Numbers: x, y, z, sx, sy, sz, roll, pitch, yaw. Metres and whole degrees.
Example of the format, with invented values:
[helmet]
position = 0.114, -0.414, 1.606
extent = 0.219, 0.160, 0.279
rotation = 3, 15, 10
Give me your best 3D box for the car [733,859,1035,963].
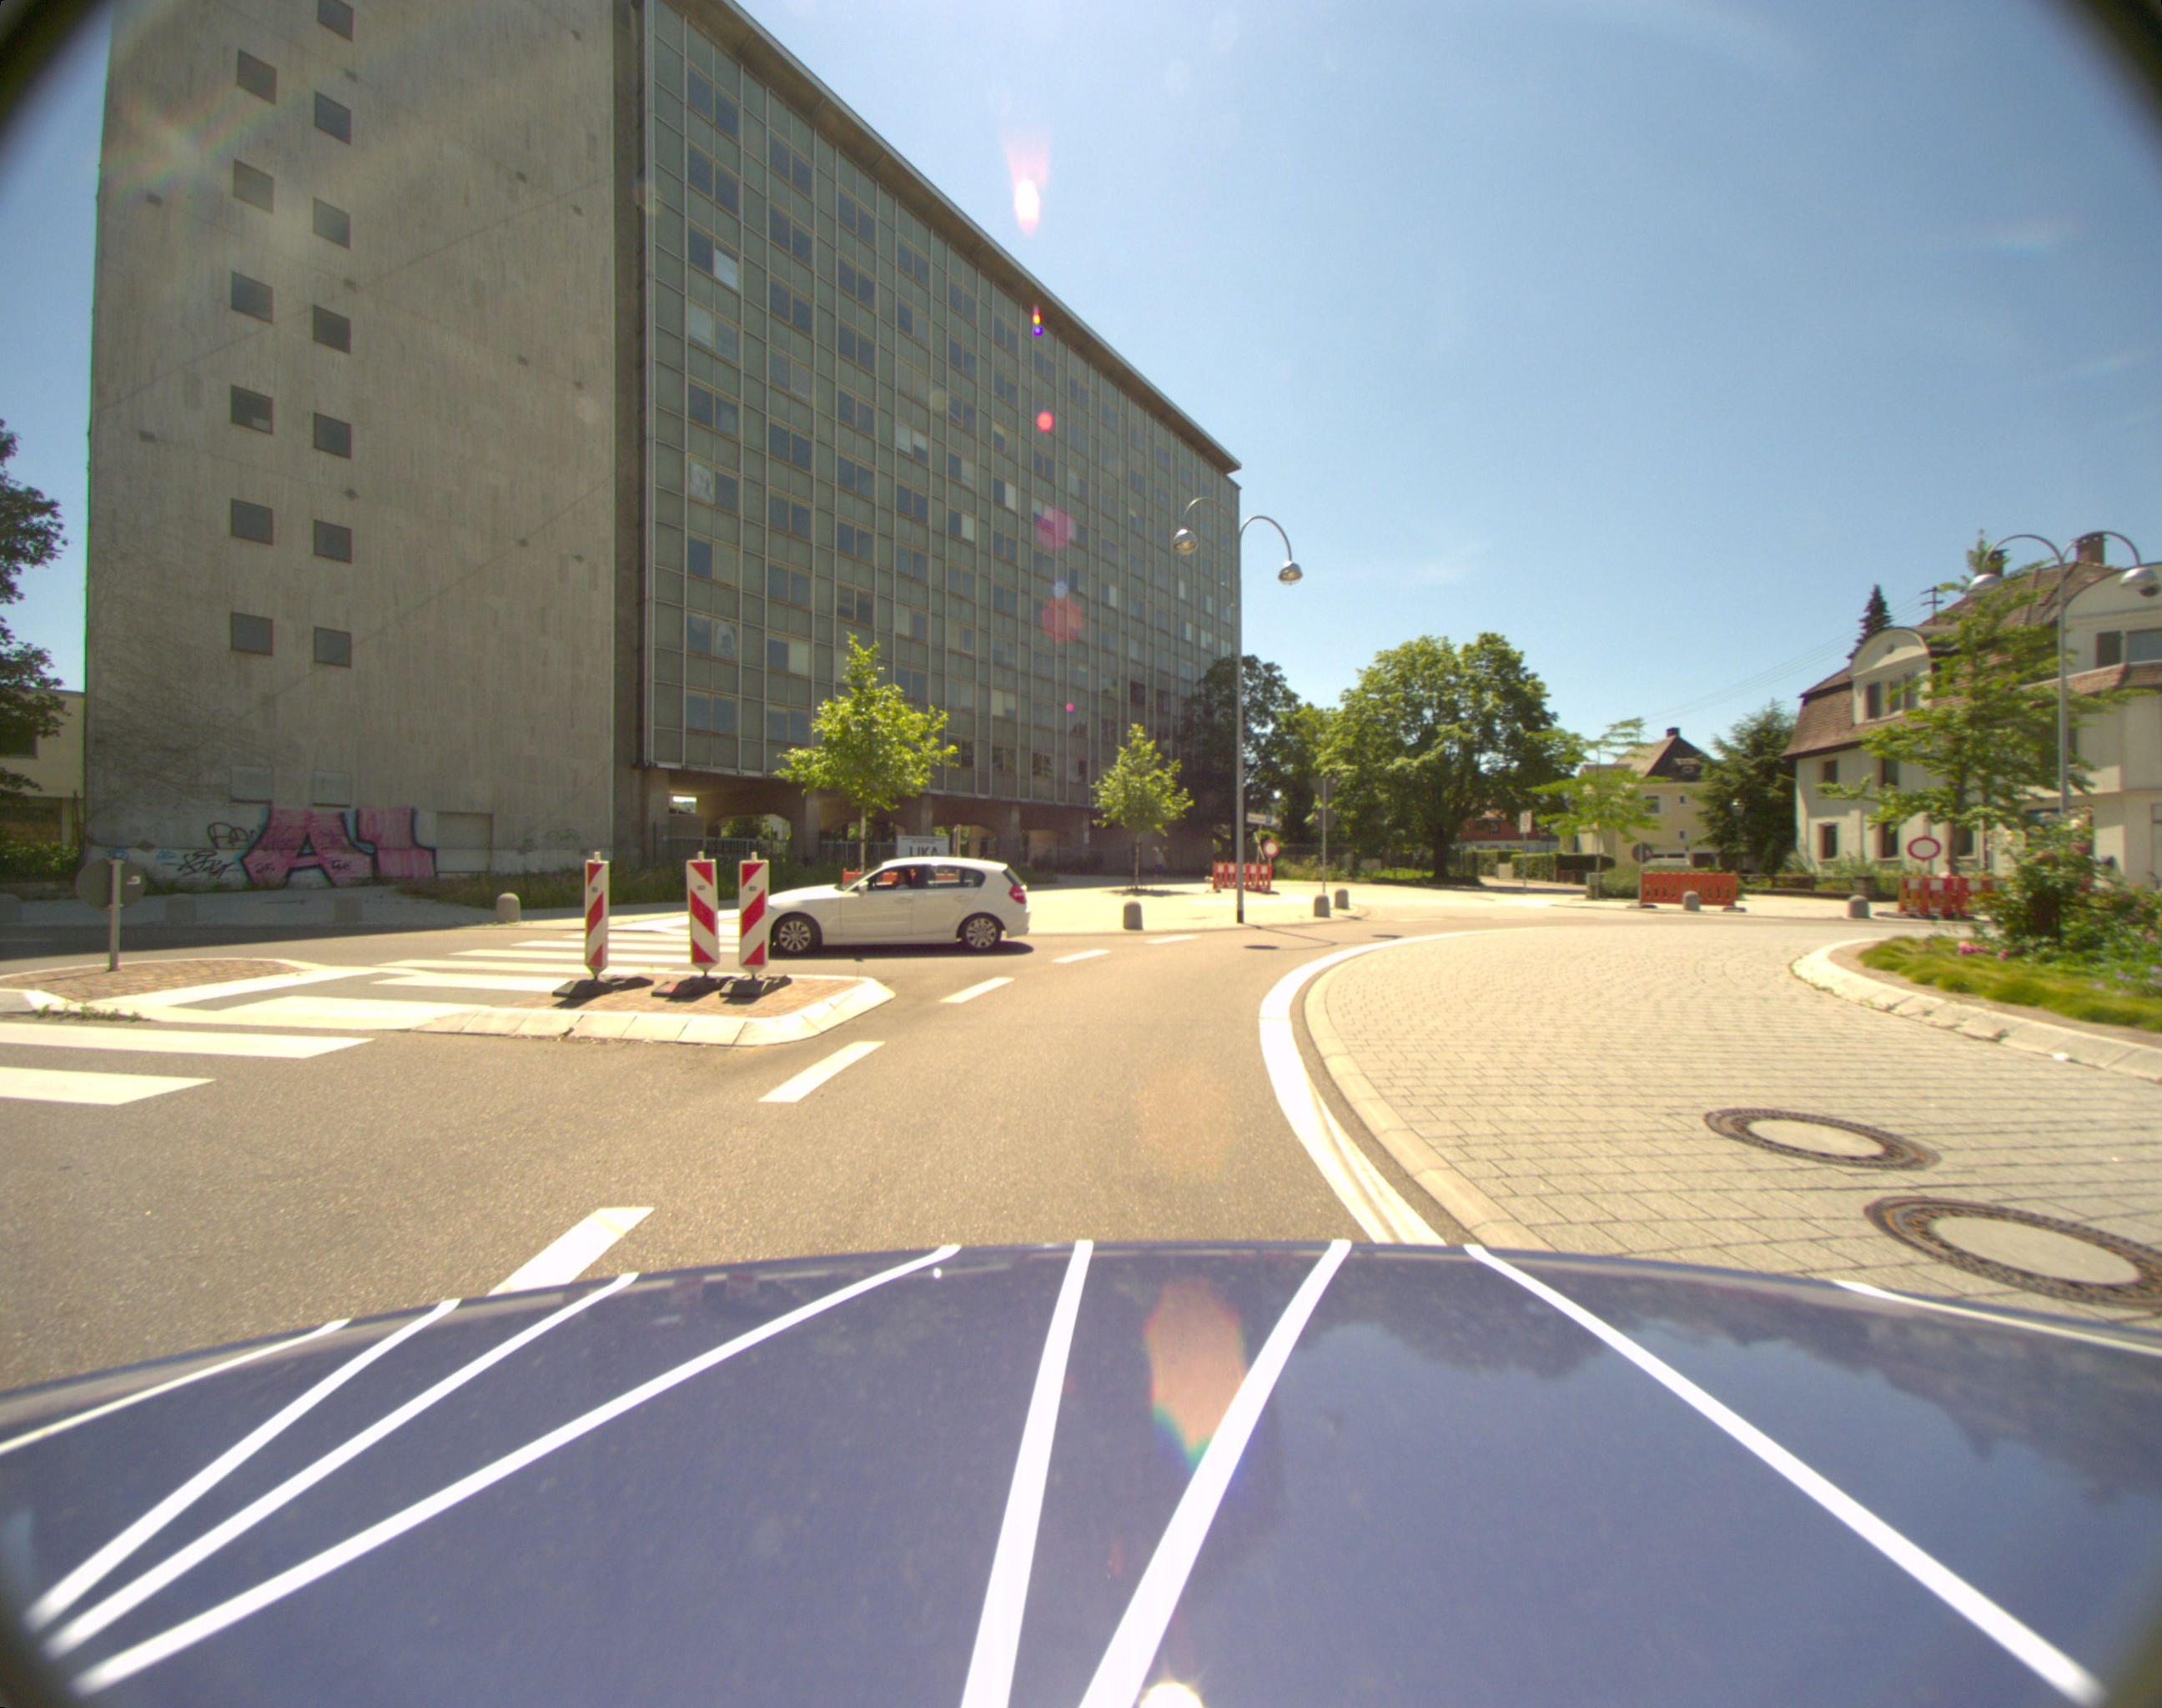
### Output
[car]
position = -2.932, 0.818, 11.940
extent = 4.257, 1.450, 1.908
rotation = 0, 0, -9
